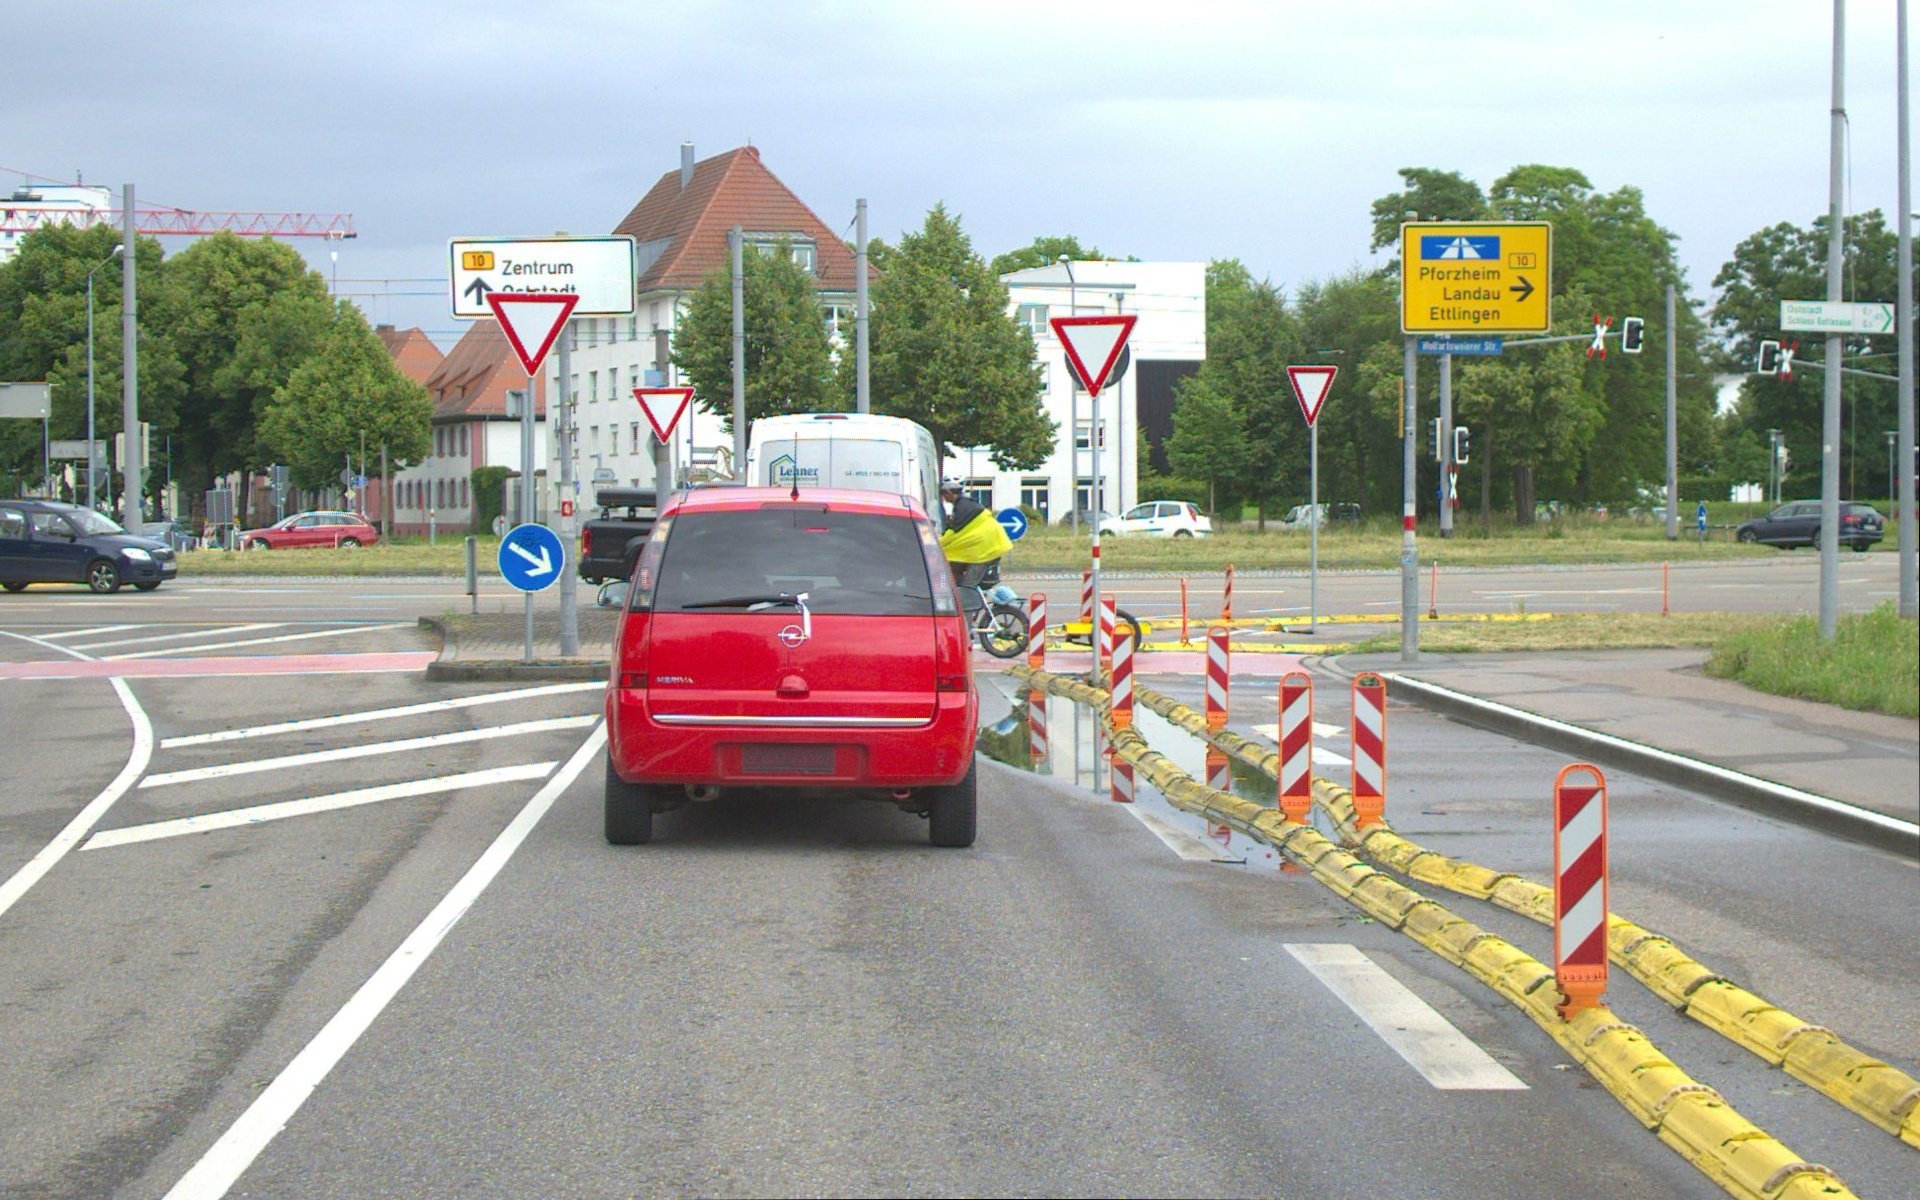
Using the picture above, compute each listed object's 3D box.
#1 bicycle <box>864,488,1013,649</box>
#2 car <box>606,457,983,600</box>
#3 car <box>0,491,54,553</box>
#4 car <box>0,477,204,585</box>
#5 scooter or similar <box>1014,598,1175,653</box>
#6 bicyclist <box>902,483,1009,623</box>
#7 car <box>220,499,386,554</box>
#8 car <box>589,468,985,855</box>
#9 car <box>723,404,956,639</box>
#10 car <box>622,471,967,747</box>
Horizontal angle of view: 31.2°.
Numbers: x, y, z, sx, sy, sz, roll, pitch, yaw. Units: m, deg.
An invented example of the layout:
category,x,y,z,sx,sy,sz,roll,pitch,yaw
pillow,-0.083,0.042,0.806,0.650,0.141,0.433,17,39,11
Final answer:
category,x,y,z,sx,sy,sz,roll,pitch,yaw
bicycle,-0.212,-0.326,34.941,1.477,1.606,0.606,0,2,1
car,-2.327,-1.021,49.215,5.027,1.965,2.223,0,2,9
car,-26.519,-2.045,91.049,1.997,1.629,4.666,1,2,35
car,-15.517,-1.199,59.655,4.196,1.807,2.077,0,2,9
scooter or similar,1.356,0.256,34.961,1.607,0.502,0.925,0,2,1
bicyclist,-0.044,-0.483,34.943,1.062,1.396,0.615,0,2,1
car,-20.118,-2.270,105.223,4.659,1.629,2.001,-1,2,-22
car,-0.812,0.213,16.539,1.673,1.635,3.628,1,2,-2
car,-1.321,-0.925,39.966,2.195,2.531,4.962,1,2,4
car,-1.092,-0.014,23.100,2.059,1.642,4.608,1,2,-2
